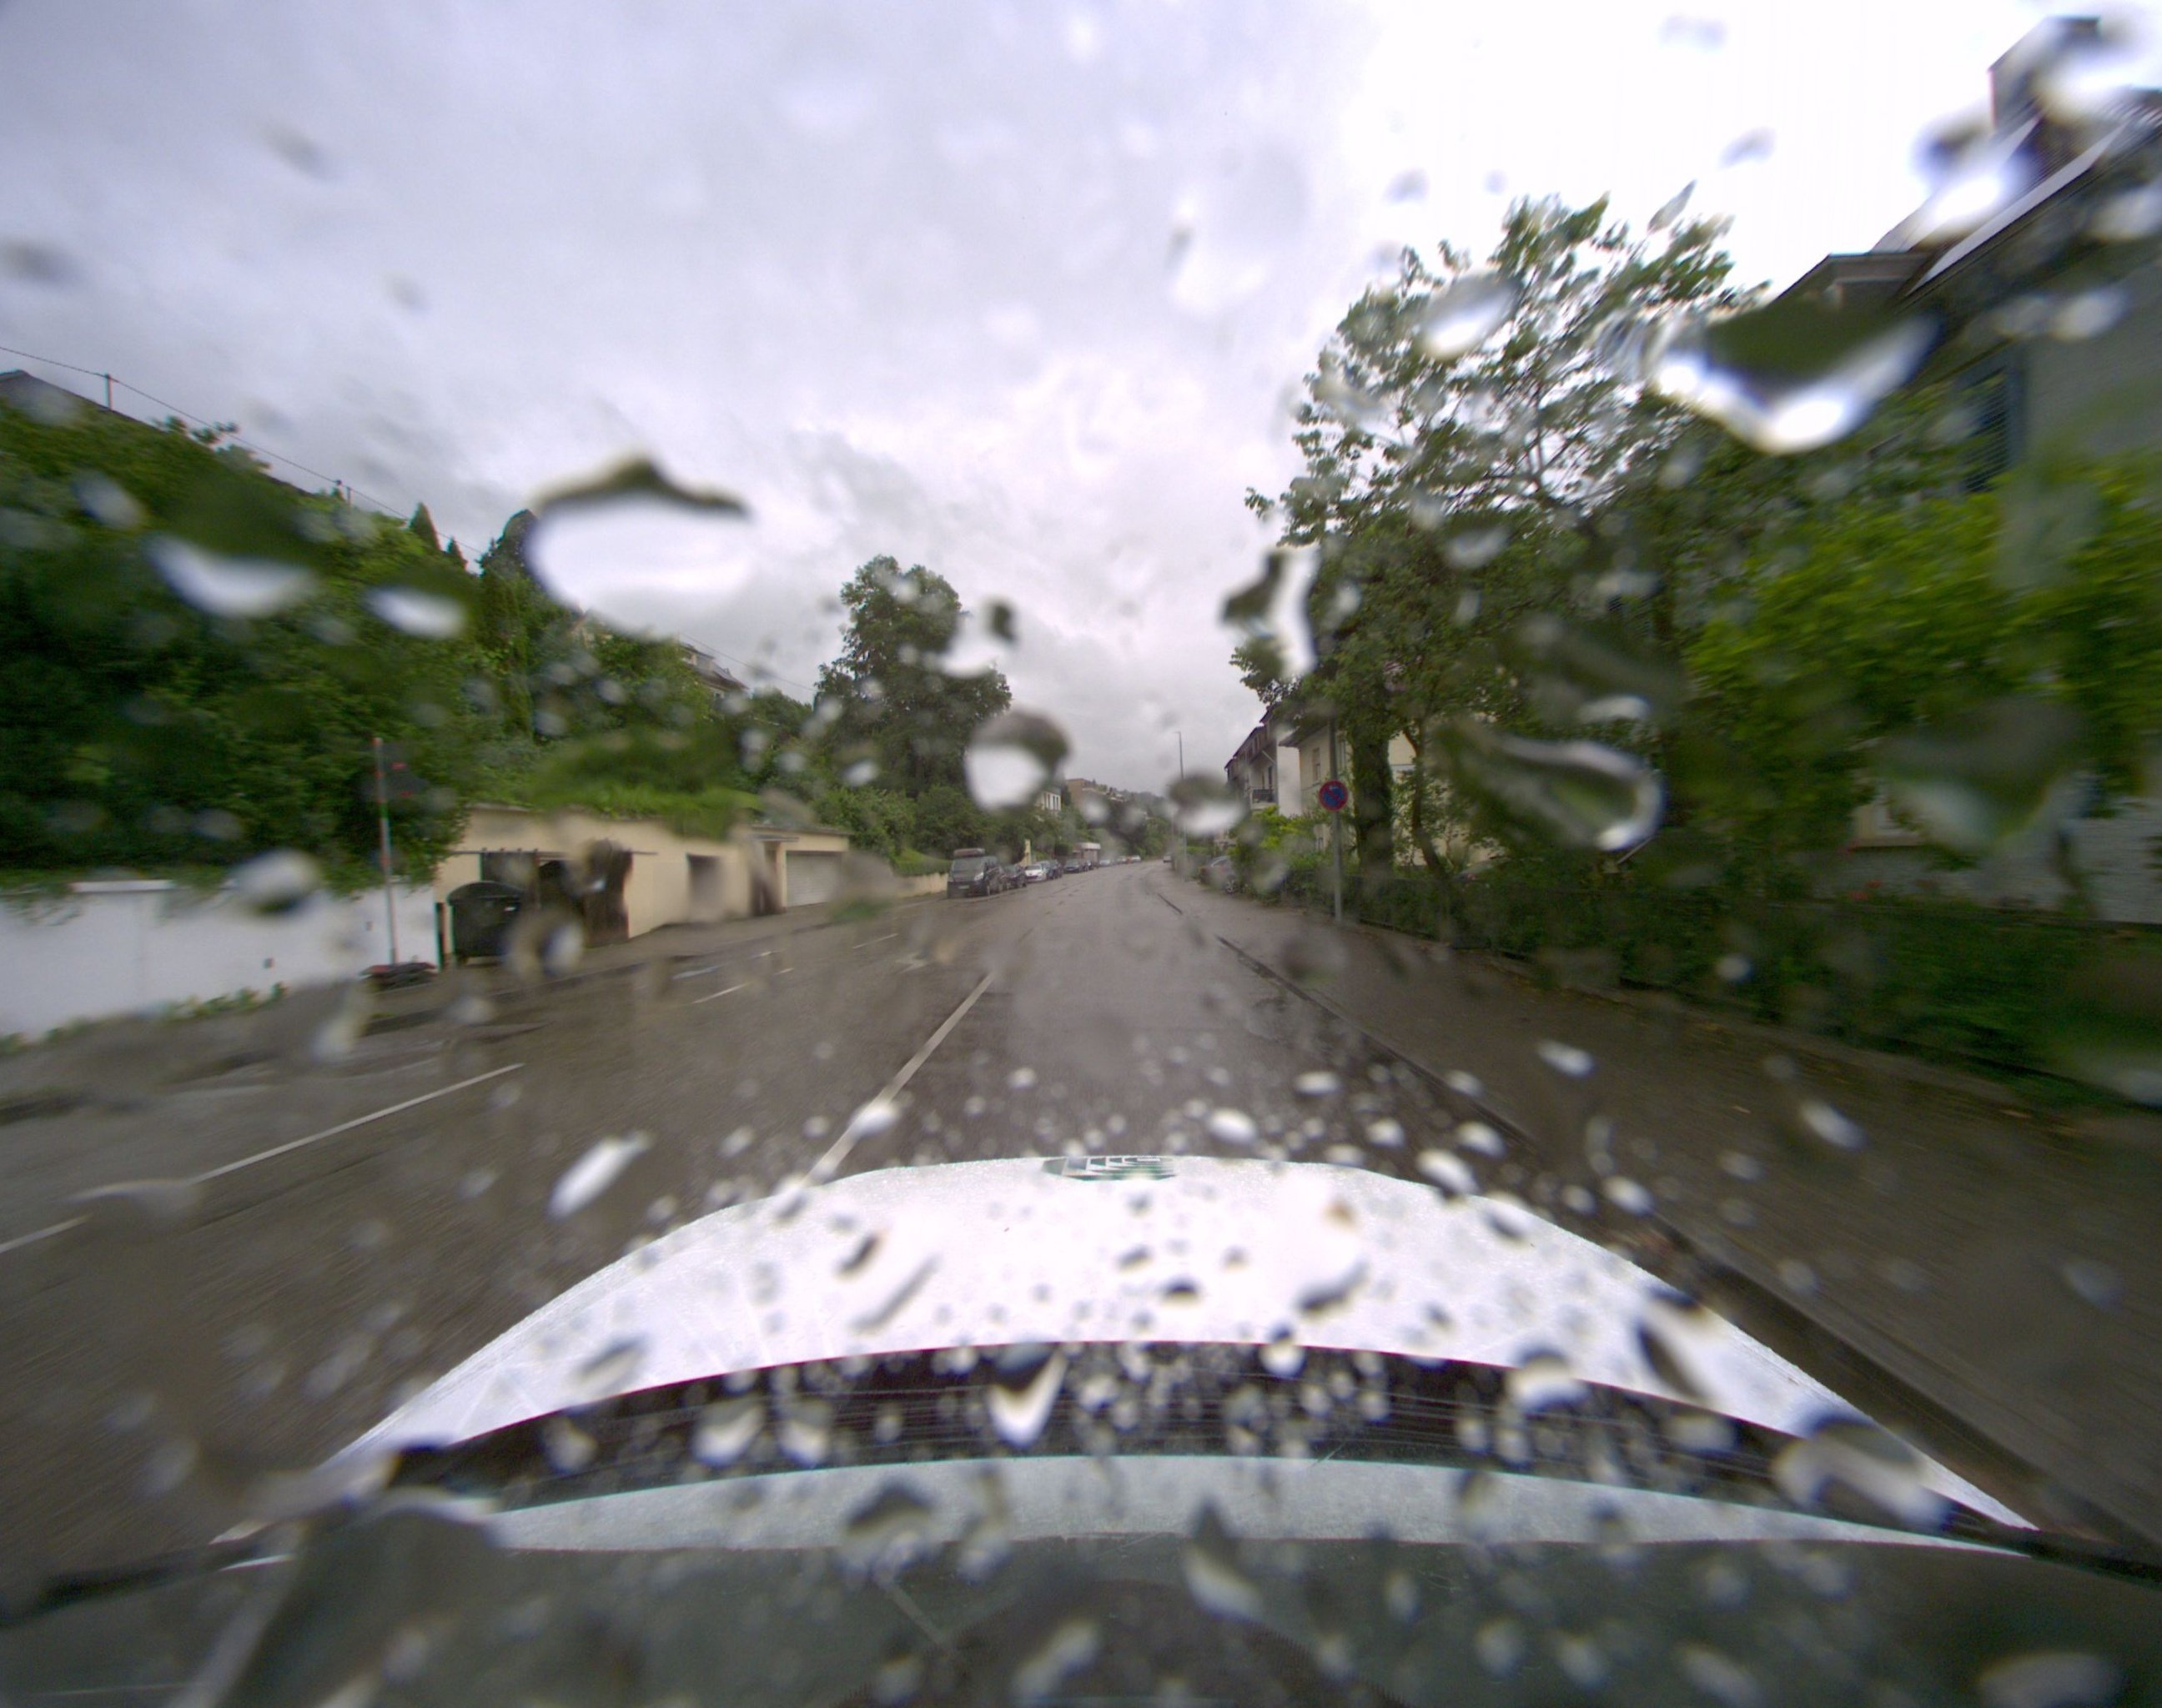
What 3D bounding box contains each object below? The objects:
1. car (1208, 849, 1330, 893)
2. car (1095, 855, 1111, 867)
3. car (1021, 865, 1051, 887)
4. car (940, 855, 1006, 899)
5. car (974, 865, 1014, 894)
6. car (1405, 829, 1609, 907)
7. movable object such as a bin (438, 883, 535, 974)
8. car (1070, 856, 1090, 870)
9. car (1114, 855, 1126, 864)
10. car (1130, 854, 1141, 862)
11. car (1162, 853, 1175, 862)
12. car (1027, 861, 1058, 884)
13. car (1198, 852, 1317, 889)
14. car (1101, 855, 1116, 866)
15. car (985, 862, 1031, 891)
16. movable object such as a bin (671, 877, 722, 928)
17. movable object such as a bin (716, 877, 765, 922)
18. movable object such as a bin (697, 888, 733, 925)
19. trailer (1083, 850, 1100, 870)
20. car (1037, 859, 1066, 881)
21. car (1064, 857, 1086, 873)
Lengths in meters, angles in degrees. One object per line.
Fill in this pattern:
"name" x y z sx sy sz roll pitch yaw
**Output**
"car" 6.889 0.638 29.984 3.948 1.456 1.783 -3 0 36
"car" 3.308 1.031 122.451 1.746 1.539 3.765 -6 0 8
"car" -3.414 1.637 62.311 1.709 1.365 4.086 -5 1 3
"car" -5.315 1.086 40.855 2.149 1.919 5.329 -4 0 4
"car" -4.882 1.414 46.281 1.558 1.364 3.910 -5 0 3
"car" 10.244 0.316 19.845 3.968 1.579 1.823 3 0 5
"movable object such as a bin" -9.888 1.221 13.580 0.929 1.445 0.862 0 -1 0
"car" -0.112 1.082 96.158 1.776 1.415 4.225 -4 1 7
"car" 6.984 0.946 145.031 1.746 1.402 3.779 -6 0 8
"car" 11.071 0.764 164.189 1.745 1.497 4.231 -4 0 9
"car" 15.582 0.537 144.412 1.777 1.459 4.322 -3 0 12
"car" -3.132 1.509 67.190 1.733 1.561 4.117 -5 0 6
"car" 7.186 0.699 33.344 4.325 1.364 1.932 -3 -1 36
"car" 4.315 0.993 127.884 1.746 1.409 3.713 -6 0 8
"car" -4.491 1.375 51.021 1.899 1.480 4.762 -6 0 5
"movable object such as a bin" -11.118 1.394 23.575 0.816 1.382 1.137 -2 0 6
"movable object such as a bin" -10.818 1.417 25.904 0.816 1.314 1.404 -2 0 6
"movable object such as a bin" -11.052 1.581 24.611 0.732 1.042 0.608 -2 0 6
"trailer" 1.386 0.757 108.380 1.527 2.399 3.082 -5 0 10
"car" -2.570 1.403 72.169 1.865 1.625 4.601 -6 0 6
"car" -0.657 1.176 90.168 1.777 1.454 4.763 -5 0 5
